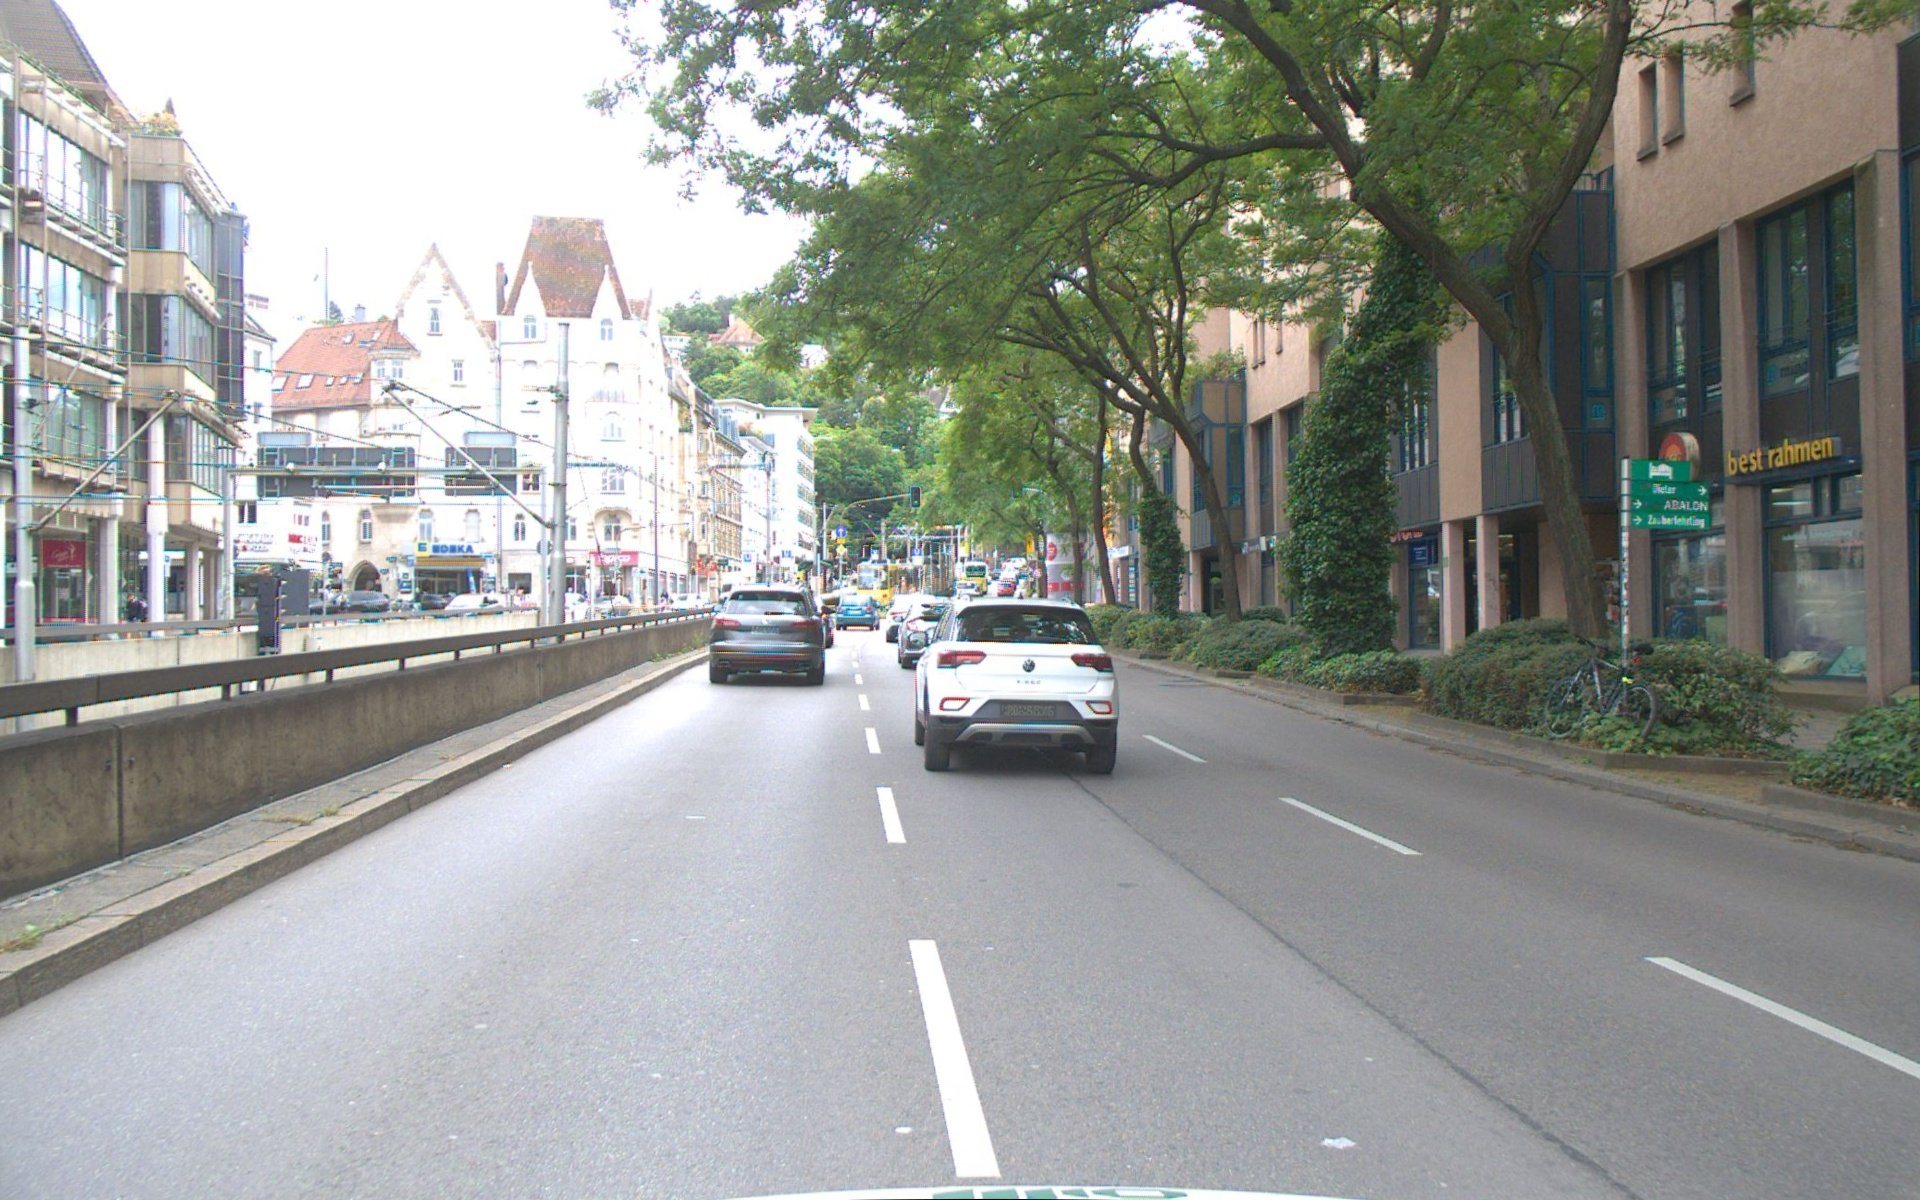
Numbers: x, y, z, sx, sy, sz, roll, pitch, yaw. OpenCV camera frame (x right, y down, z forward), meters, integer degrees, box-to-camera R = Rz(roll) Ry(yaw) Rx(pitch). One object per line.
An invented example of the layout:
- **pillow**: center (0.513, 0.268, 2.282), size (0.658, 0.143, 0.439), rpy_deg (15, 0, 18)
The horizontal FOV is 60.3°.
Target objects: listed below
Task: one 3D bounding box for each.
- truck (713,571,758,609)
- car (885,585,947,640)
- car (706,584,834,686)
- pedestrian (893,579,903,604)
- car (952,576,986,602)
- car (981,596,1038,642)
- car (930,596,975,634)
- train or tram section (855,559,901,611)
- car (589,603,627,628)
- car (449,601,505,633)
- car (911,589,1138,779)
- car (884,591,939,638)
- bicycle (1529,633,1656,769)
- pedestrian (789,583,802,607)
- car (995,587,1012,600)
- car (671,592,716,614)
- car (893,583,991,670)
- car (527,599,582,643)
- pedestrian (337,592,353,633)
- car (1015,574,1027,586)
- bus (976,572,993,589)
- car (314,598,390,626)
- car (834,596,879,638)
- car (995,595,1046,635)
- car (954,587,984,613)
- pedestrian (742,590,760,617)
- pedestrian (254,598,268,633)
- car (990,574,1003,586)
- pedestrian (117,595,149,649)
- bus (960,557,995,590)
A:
- **truck**: center (-19.050, -0.796, 140.901), size (2.219, 3.130, 7.378), rpy_deg (1, 0, 5)
- **car**: center (-1.469, 0.399, 54.303), size (1.847, 1.713, 4.158), rpy_deg (1, 0, -4)
- **car**: center (-3.248, 0.573, 28.971), size (1.954, 1.664, 3.998), rpy_deg (0, 0, -3)
- **pedestrian**: center (-4.504, -0.620, 120.368), size (0.671, 1.741, 0.712), rpy_deg (0, 1, 2)
- **car**: center (0.748, -0.910, 138.614), size (2.314, 2.049, 5.151), rpy_deg (1, 0, 6)
- **car**: center (2.282, 0.881, 77.852), size (2.317, 2.049, 5.146), rpy_deg (1, 0, -2)
- **car**: center (-0.465, 0.825, 91.700), size (2.317, 2.049, 5.146), rpy_deg (1, 0, -2)
- **train or tram section**: center (-6.062, -1.116, 123.475), size (2.776, 3.743, 5.754), rpy_deg (1, 1, 3)
- **car**: center (-21.982, 0.956, 103.470), size (1.630, 1.527, 4.041), rpy_deg (0, 0, -2)
- **car**: center (-24.083, 0.843, 82.556), size (1.630, 1.527, 4.411), rpy_deg (0, 0, -2)
- **car**: center (0.498, 0.732, 16.299), size (1.801, 1.611, 4.153), rpy_deg (1, 0, -4)
- **car**: center (-2.266, 0.667, 75.935), size (2.318, 2.049, 5.144), rpy_deg (1, 0, -4)
- **bicycle**: center (6.139, 0.948, 16.125), size (0.355, 1.222, 1.566), rpy_deg (-1, 0, -12)
- **pedestrian**: center (-12.271, -0.387, 123.386), size (0.623, 1.793, 0.834), rpy_deg (0, 0, -40)
- **car**: center (4.265, -0.631, 160.605), size (1.549, 1.193, 3.679), rpy_deg (1, 0, 2)
- **car**: center (-19.128, 0.221, 118.902), size (1.711, 1.588, 4.518), rpy_deg (1, 0, 11)
- **car**: center (-0.440, 0.536, 35.337), size (1.847, 1.713, 4.158), rpy_deg (1, 0, -4)
- **car**: center (-19.032, 0.969, 77.838), size (1.798, 1.874, 4.599), rpy_deg (3, -1, -6)
- **pedestrian**: center (-27.500, 0.556, 73.953), size (0.499, 1.811, 0.577), rpy_deg (0, 0, 5)
- **car**: center (8.621, -2.768, 233.291), size (1.638, 1.588, 3.679), rpy_deg (1, 0, 2)
- **bus**: center (3.069, -2.518, 209.873), size (1.953, 2.049, 3.998), rpy_deg (1, 0, -2)
- **car**: center (-34.189, 0.647, 93.036), size (3.974, 1.527, 1.658), rpy_deg (0, 0, -23)
- **car**: center (-4.425, 0.713, 70.593), size (1.847, 1.713, 4.158), rpy_deg (1, 0, -4)
- **car**: center (3.215, 0.769, 88.483), size (2.317, 2.049, 5.146), rpy_deg (1, 0, -2)
- **car**: center (0.658, -0.005, 114.872), size (1.845, 1.713, 4.163), rpy_deg (1, 0, 3)
- **pedestrian**: center (-13.586, 0.229, 107.312), size (0.859, 1.735, 0.810), rpy_deg (0, 0, 32)
- **pedestrian**: center (-37.100, 0.816, 87.814), size (0.499, 1.811, 0.577), rpy_deg (0, 0, 5)
- **car**: center (5.022, -2.698, 226.769), size (1.638, 1.588, 3.679), rpy_deg (1, 0, 2)
- **pedestrian**: center (-28.173, 0.744, 56.359), size (0.716, 1.843, 0.739), rpy_deg (1, 0, -3)
- **bus**: center (1.917, -2.760, 174.911), size (3.301, 3.118, 13.328), rpy_deg (1, 0, 2)
